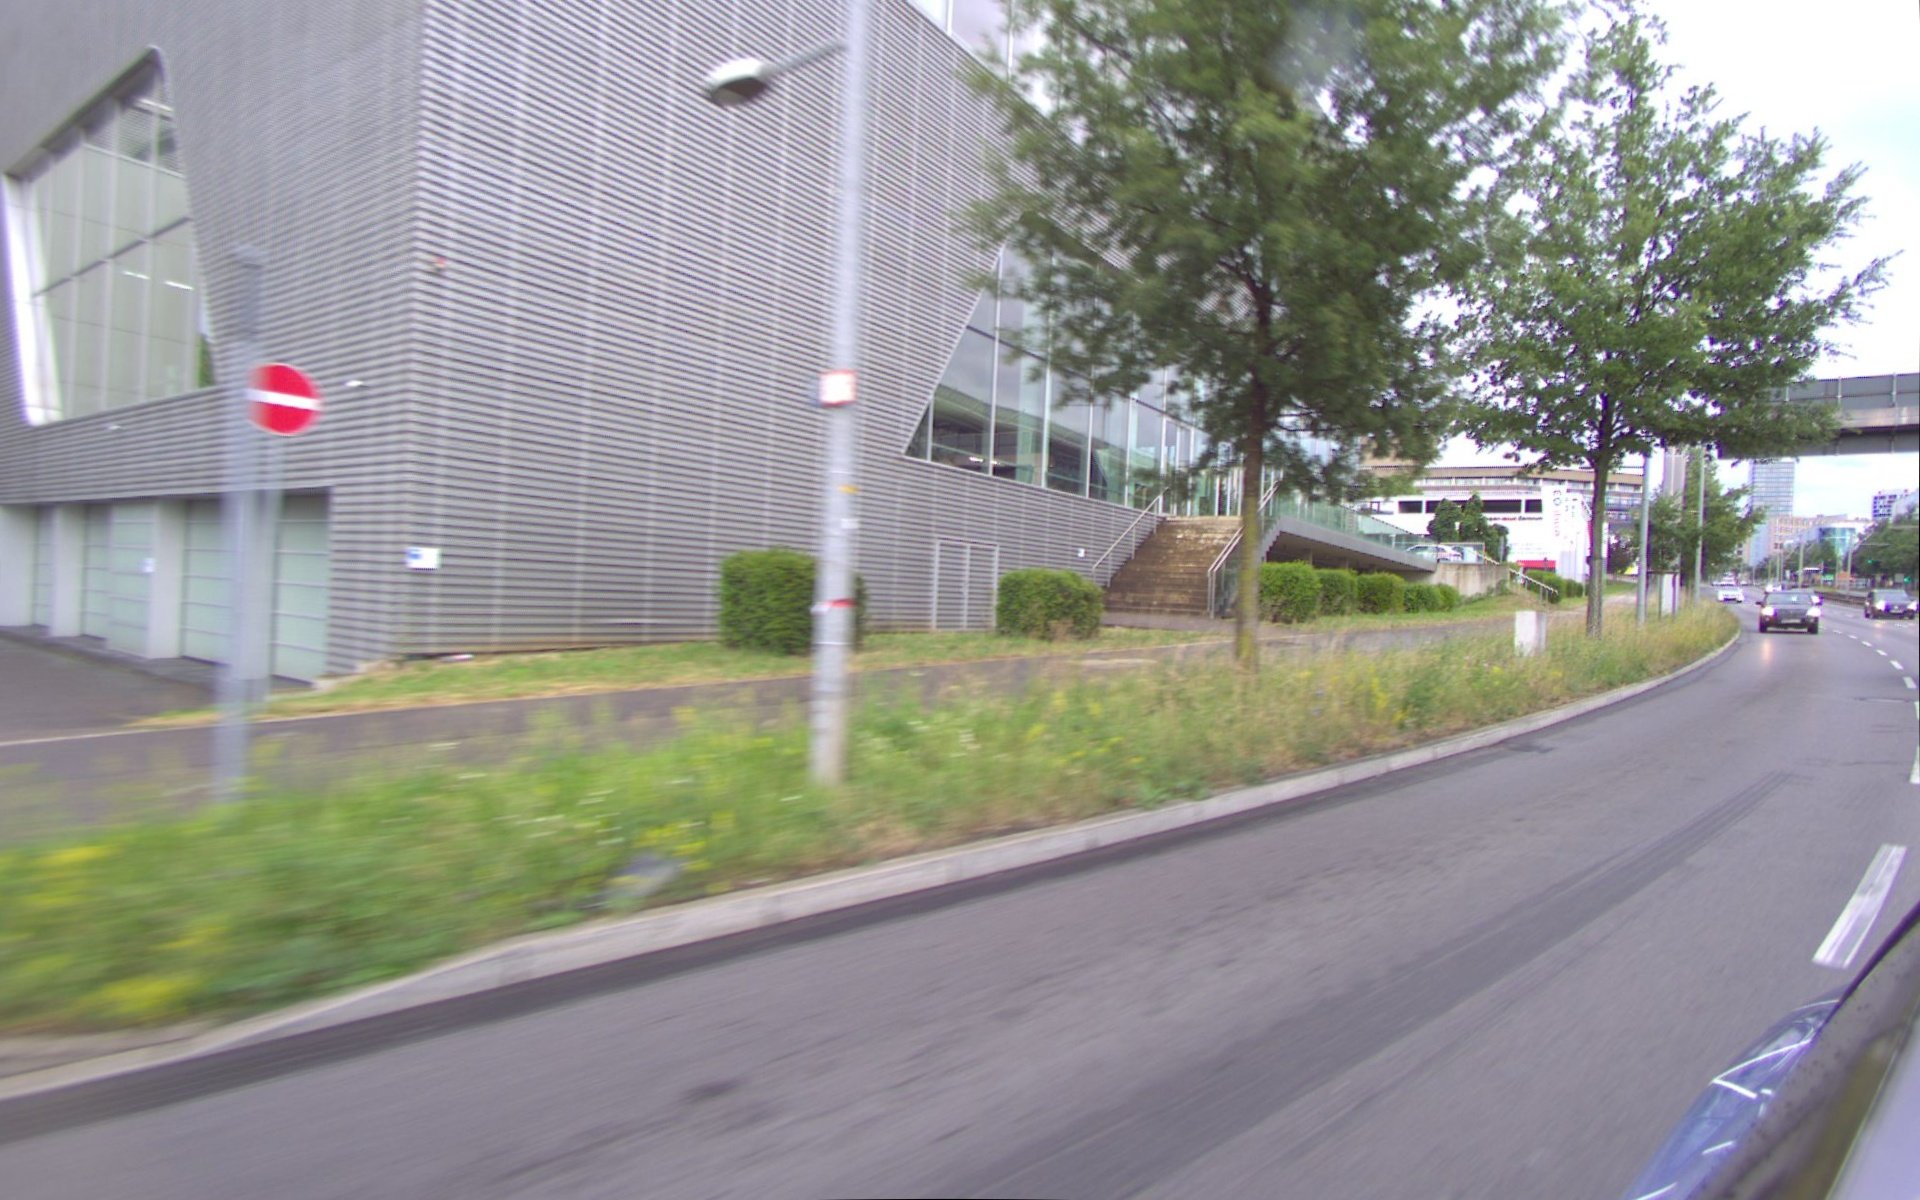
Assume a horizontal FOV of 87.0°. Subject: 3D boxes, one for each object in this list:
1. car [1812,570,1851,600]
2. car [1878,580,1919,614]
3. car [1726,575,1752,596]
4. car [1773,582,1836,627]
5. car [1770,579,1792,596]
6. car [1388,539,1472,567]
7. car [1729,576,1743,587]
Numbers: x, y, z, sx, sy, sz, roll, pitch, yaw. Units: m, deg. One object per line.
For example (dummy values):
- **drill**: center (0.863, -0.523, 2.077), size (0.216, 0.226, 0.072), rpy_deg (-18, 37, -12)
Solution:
- **car**: center (62.780, -1.126, 72.948), size (1.990, 2.038, 3.945), rpy_deg (0, 2, 39)
- **car**: center (52.817, -0.144, 56.630), size (1.852, 1.833, 4.056), rpy_deg (1, 0, 38)
- **car**: center (71.649, -1.354, 93.070), size (1.852, 1.833, 4.057), rpy_deg (1, 0, 38)
- **car**: center (32.932, 0.171, 39.473), size (1.822, 1.629, 4.053), rpy_deg (1, 0, 40)
- **car**: center (105.164, -1.657, 129.699), size (1.988, 2.038, 3.948), rpy_deg (0, 2, 37)
- **car**: center (27.510, -2.720, 59.267), size (4.246, 1.594, 1.671), rpy_deg (1, 1, 36)
- **car**: center (135.002, -3.195, 176.085), size (1.989, 1.871, 3.947), rpy_deg (0, 2, 37)
